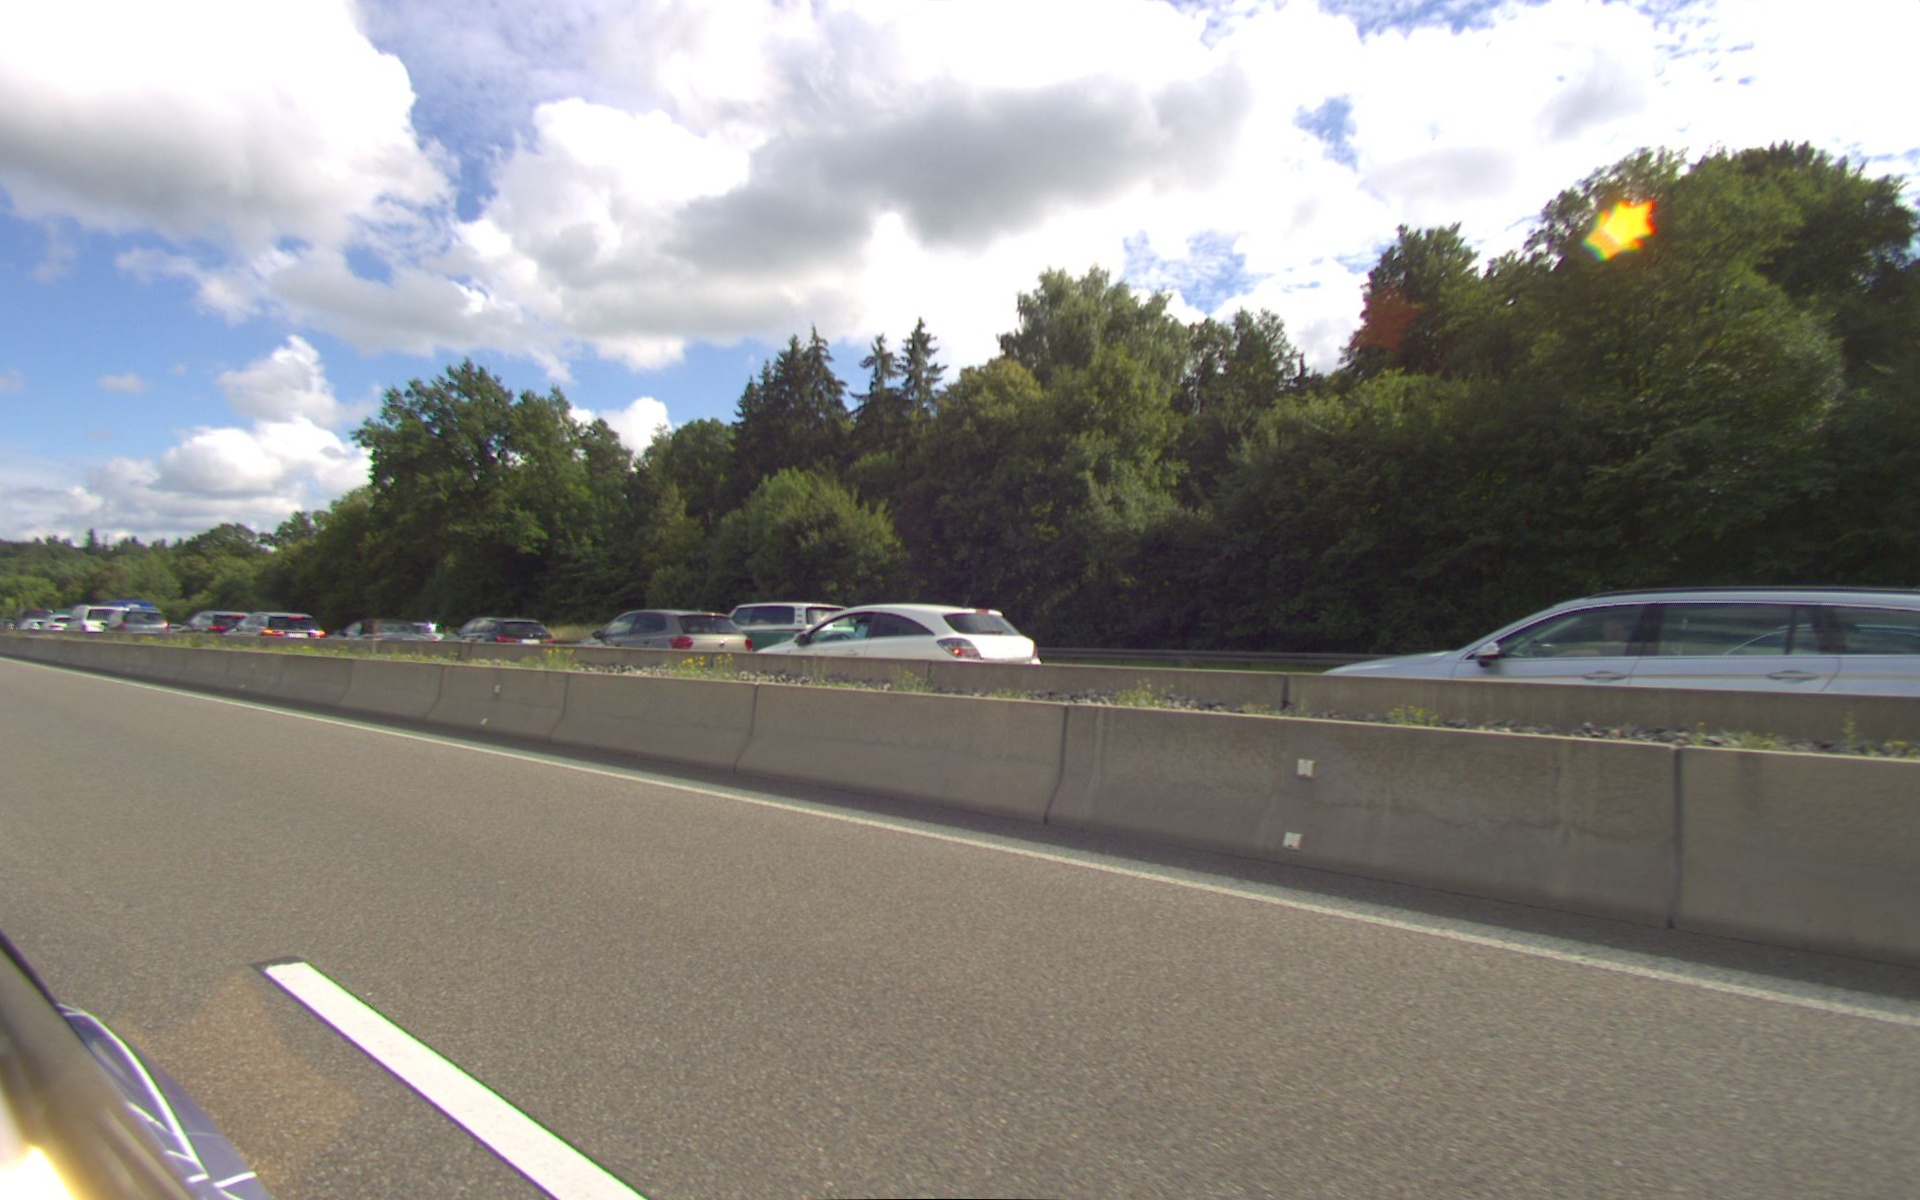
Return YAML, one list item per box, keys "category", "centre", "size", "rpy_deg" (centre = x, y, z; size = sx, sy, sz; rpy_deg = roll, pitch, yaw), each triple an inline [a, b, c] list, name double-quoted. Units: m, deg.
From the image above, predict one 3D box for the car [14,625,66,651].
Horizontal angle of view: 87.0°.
- category: "car"
  centre: [-57.762, 2.375, 63.518]
  size: [3.998, 1.564, 1.973]
  rpy_deg: [-2, -2, 41]

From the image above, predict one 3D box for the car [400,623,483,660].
- category: "car"
  centre: [-23.172, 1.826, 45.157]
  size: [3.998, 1.564, 1.973]
  rpy_deg: [-2, -2, 41]

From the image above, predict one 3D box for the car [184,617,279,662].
- category: "car"
  centre: [-26.847, 1.426, 37.259]
  size: [3.998, 1.564, 1.973]
  rpy_deg: [-2, -2, 41]

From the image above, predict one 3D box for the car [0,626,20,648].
- category: "car"
  centre: [-69.097, 2.666, 72.603]
  size: [3.998, 1.564, 1.973]
  rpy_deg: [-2, -2, 41]

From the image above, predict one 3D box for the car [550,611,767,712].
- category: "car"
  centre: [-5.323, 1.005, 17.629]
  size: [3.998, 1.564, 1.776]
  rpy_deg: [-2, -2, 41]

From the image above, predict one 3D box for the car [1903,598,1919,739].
- category: "car"
  centre: [13.418, 0.771, 10.982]
  size: [4.548, 1.630, 1.973]
  rpy_deg: [-2, -2, 41]

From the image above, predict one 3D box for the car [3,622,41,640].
- category: "car"
  centre: [-82.554, 2.757, 89.062]
  size: [3.998, 1.564, 1.973]
  rpy_deg: [-2, -2, 41]

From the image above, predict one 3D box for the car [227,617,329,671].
- category: "car"
  centre: [-21.045, 1.321, 31.194]
  size: [3.998, 1.564, 1.621]
  rpy_deg: [-2, -2, 41]

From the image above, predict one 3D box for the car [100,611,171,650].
- category: "car"
  centre: [-35.130, 1.300, 43.088]
  size: [3.998, 1.564, 1.676]
  rpy_deg: [-2, -2, 41]

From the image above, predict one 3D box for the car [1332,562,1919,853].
- category: "car"
  centre: [5.171, 0.641, 7.030]
  size: [4.548, 1.630, 1.724]
  rpy_deg: [-2, -2, 41]

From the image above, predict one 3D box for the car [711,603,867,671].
- category: "car"
  centre: [-4.514, 0.950, 26.464]
  size: [3.998, 1.630, 1.963]
  rpy_deg: [-2, -2, 41]

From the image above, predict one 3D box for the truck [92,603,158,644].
- category: "truck"
  centre: [-52.469, 1.472, 63.573]
  size: [5.237, 2.477, 2.338]
  rpy_deg: [-1, -2, 41]

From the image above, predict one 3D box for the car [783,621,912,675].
- category: "car"
  centre: [-3.536, 1.456, 31.361]
  size: [3.998, 1.564, 1.757]
  rpy_deg: [-2, -2, 41]

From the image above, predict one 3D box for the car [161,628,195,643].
- category: "car"
  centre: [-80.155, 3.646, 103.725]
  size: [4.203, 1.564, 1.973]
  rpy_deg: [-2, -2, 41]

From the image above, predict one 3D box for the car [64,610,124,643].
- category: "car"
  centre: [-42.072, 1.296, 49.133]
  size: [3.998, 1.564, 1.613]
  rpy_deg: [-2, -2, 41]

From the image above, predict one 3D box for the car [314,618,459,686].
- category: "car"
  centre: [-14.506, 1.271, 25.530]
  size: [3.998, 1.564, 1.973]
  rpy_deg: [-2, -2, 41]

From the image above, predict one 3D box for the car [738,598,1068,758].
- category: "car"
  centre: [-0.799, 0.848, 12.241]
  size: [3.998, 1.630, 1.643]
  rpy_deg: [-2, -2, 41]

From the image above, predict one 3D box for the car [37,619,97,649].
- category: "car"
  centre: [-48.917, 1.865, 55.423]
  size: [3.998, 1.564, 1.973]
  rpy_deg: [-2, -2, 41]

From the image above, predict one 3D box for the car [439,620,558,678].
- category: "car"
  centre: [-13.261, 1.367, 28.993]
  size: [3.998, 1.564, 1.614]
  rpy_deg: [-2, -2, 41]
